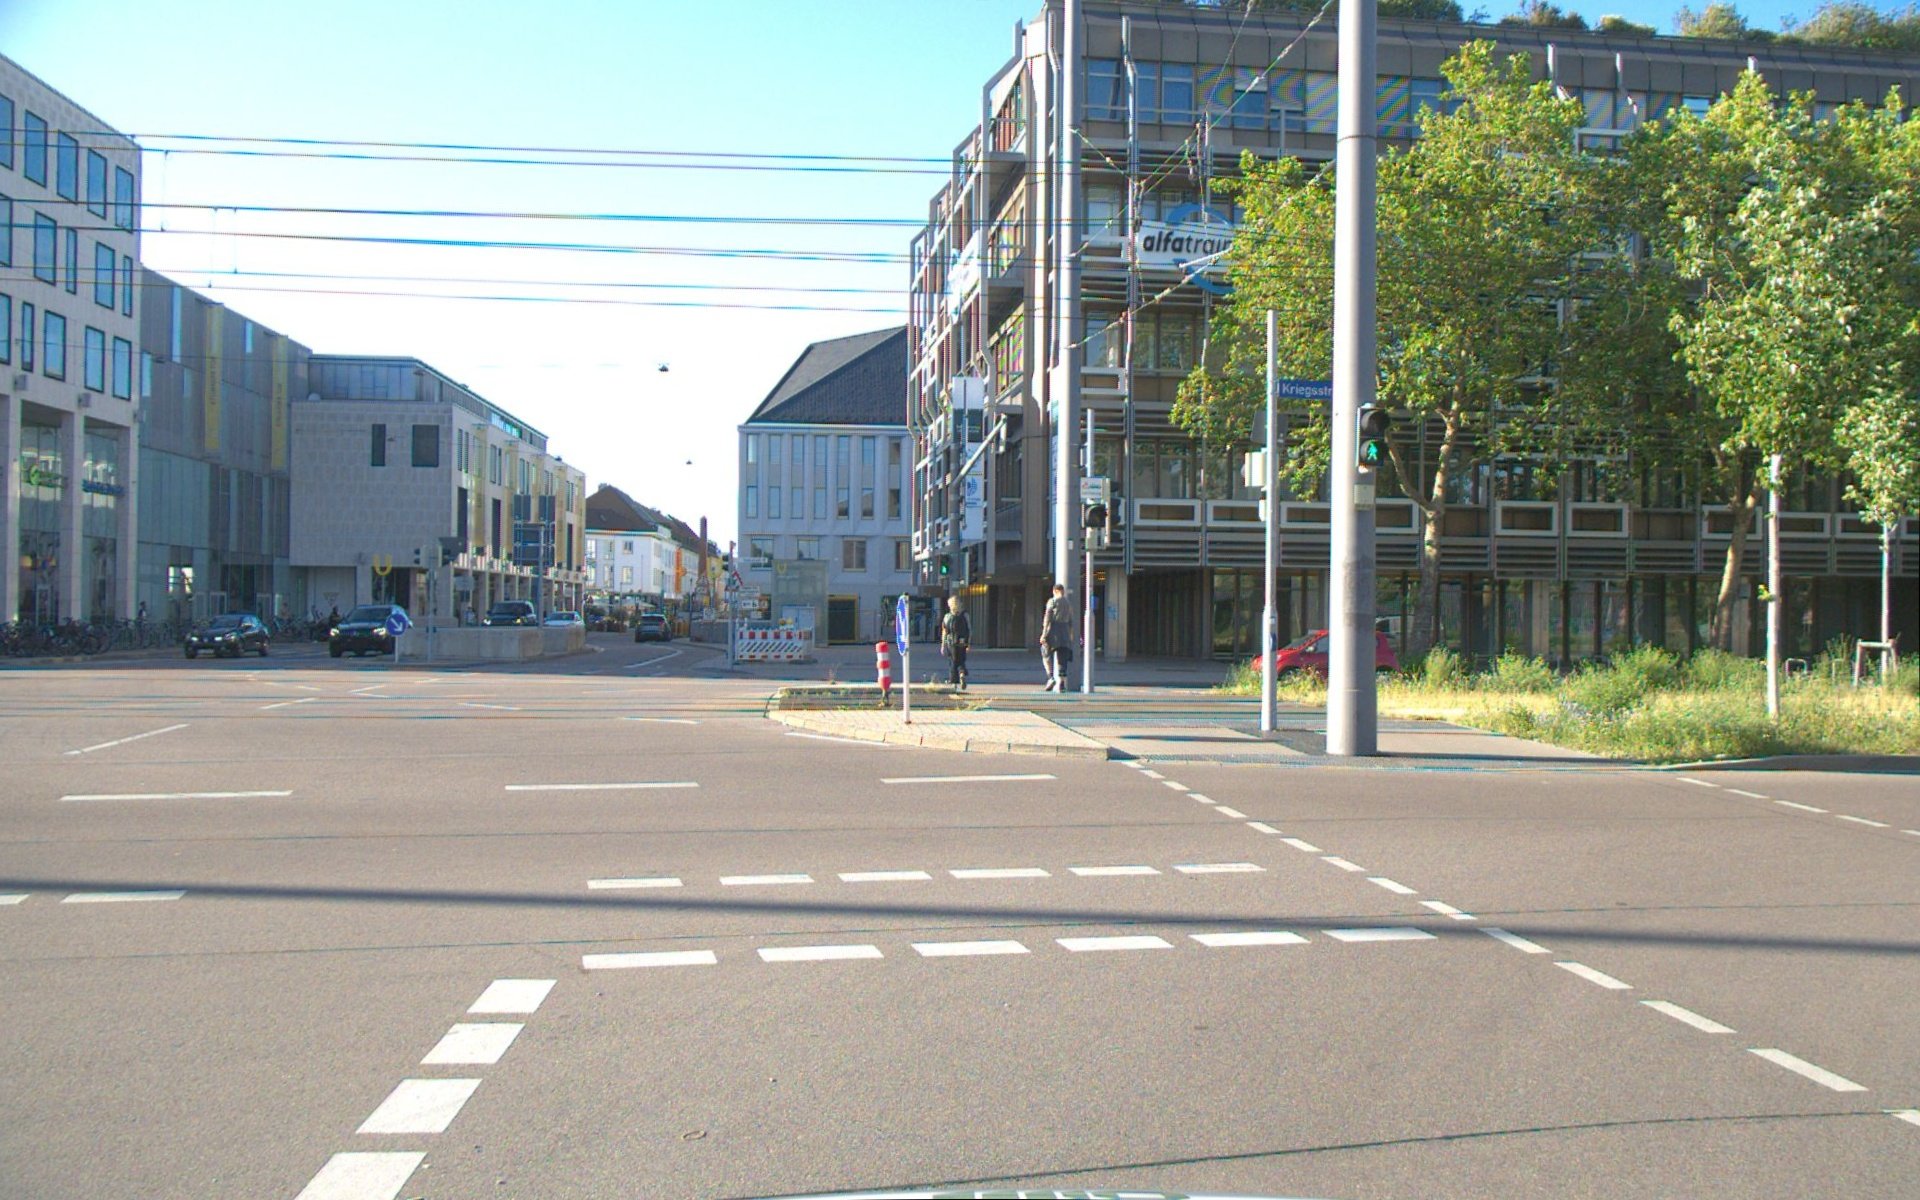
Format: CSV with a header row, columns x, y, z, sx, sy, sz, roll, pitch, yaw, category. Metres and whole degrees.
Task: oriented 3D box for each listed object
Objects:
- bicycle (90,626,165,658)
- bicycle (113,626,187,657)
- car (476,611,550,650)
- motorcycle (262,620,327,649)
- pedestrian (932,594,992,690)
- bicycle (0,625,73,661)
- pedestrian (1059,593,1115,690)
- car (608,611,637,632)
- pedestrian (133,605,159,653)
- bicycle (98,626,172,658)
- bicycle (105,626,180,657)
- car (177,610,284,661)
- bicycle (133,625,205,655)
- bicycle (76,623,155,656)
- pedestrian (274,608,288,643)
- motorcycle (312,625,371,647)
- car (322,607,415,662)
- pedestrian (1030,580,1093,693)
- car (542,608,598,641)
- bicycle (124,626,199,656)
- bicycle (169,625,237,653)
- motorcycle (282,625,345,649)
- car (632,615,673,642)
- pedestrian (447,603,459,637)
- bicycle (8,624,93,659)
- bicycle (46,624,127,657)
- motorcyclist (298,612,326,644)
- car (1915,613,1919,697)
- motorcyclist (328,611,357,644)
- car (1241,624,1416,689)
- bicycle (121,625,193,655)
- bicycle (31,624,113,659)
x,y,z,sx,sy,sz,roll,pitch,yaw,category
-30.480,1.541,60.575,2.418,1.130,0.593,1,-1,-1,bicycle
-30.626,1.556,62.572,2.418,1.130,0.684,1,-1,-1,bicycle
-20.816,1.428,77.307,2.130,1.722,5.483,1,-1,-2,car
-31.001,1.623,77.114,2.618,1.239,0.914,2,-1,-9,motorcycle
0.026,0.706,28.043,0.879,1.576,0.922,1,1,-8,pedestrian
-30.198,1.393,53.715,2.354,1.132,0.657,1,-1,-3,bicycle
2.618,0.848,33.951,0.990,1.944,1.051,1,-1,11,pedestrian
-31.978,2.084,156.769,2.132,1.906,5.607,1,-1,-6,car
-34.631,1.227,70.394,0.934,2.017,0.999,1,-1,-26,pedestrian
-30.498,1.547,61.167,2.418,1.130,0.537,1,-1,-1,bicycle
-30.534,1.556,61.799,2.418,1.130,0.684,1,-1,-1,bicycle
-24.367,1.150,55.406,1.899,1.608,4.290,1,0,-4,car
-31.360,1.575,65.574,2.418,1.130,0.834,1,-1,-1,bicycle
-30.134,1.416,59.030,2.418,1.130,0.684,1,-1,-1,bicycle
-40.200,1.510,97.901,0.606,2.049,0.476,2,-1,-17,pedestrian
-30.993,1.818,82.927,2.618,1.013,0.914,2,-1,-9,motorcycle
-19.267,1.103,54.029,1.900,1.707,4.288,1,-1,-6,car
1.618,0.569,26.432,0.840,1.774,0.737,1,0,-10,pedestrian
-21.368,1.354,90.880,2.131,1.722,5.609,1,-1,-5,car
-30.649,1.566,63.505,2.418,1.130,0.834,1,-1,-1,bicycle
-31.521,1.624,68.893,2.418,1.130,0.834,1,-1,-1,bicycle
-31.046,1.767,79.476,2.618,1.013,0.914,2,-1,-9,motorcycle
-17.417,1.601,93.915,1.899,1.475,4.256,1,-1,-6,car
-31.186,1.239,101.788,0.606,2.049,0.476,2,-1,-17,pedestrian
-30.272,1.390,55.059,2.418,1.130,0.684,1,-1,-2,bicycle
-30.217,1.398,57.236,2.418,1.130,0.684,1,-1,-1,bicycle
-31.110,1.359,79.459,1.017,1.497,0.914,2,-1,-9,motorcyclist
26.235,1.343,39.644,5.584,2.049,2.261,1,-3,-8,car
-30.954,1.386,82.951,1.116,1.602,0.914,2,-1,-9,motorcyclist
8.976,1.407,40.496,3.793,1.512,1.843,0,-4,-7,car
-31.221,1.563,64.328,2.418,1.130,0.684,1,-1,-1,bicycle
-30.280,1.408,56.424,2.417,1.130,0.684,1,-1,0,bicycle
